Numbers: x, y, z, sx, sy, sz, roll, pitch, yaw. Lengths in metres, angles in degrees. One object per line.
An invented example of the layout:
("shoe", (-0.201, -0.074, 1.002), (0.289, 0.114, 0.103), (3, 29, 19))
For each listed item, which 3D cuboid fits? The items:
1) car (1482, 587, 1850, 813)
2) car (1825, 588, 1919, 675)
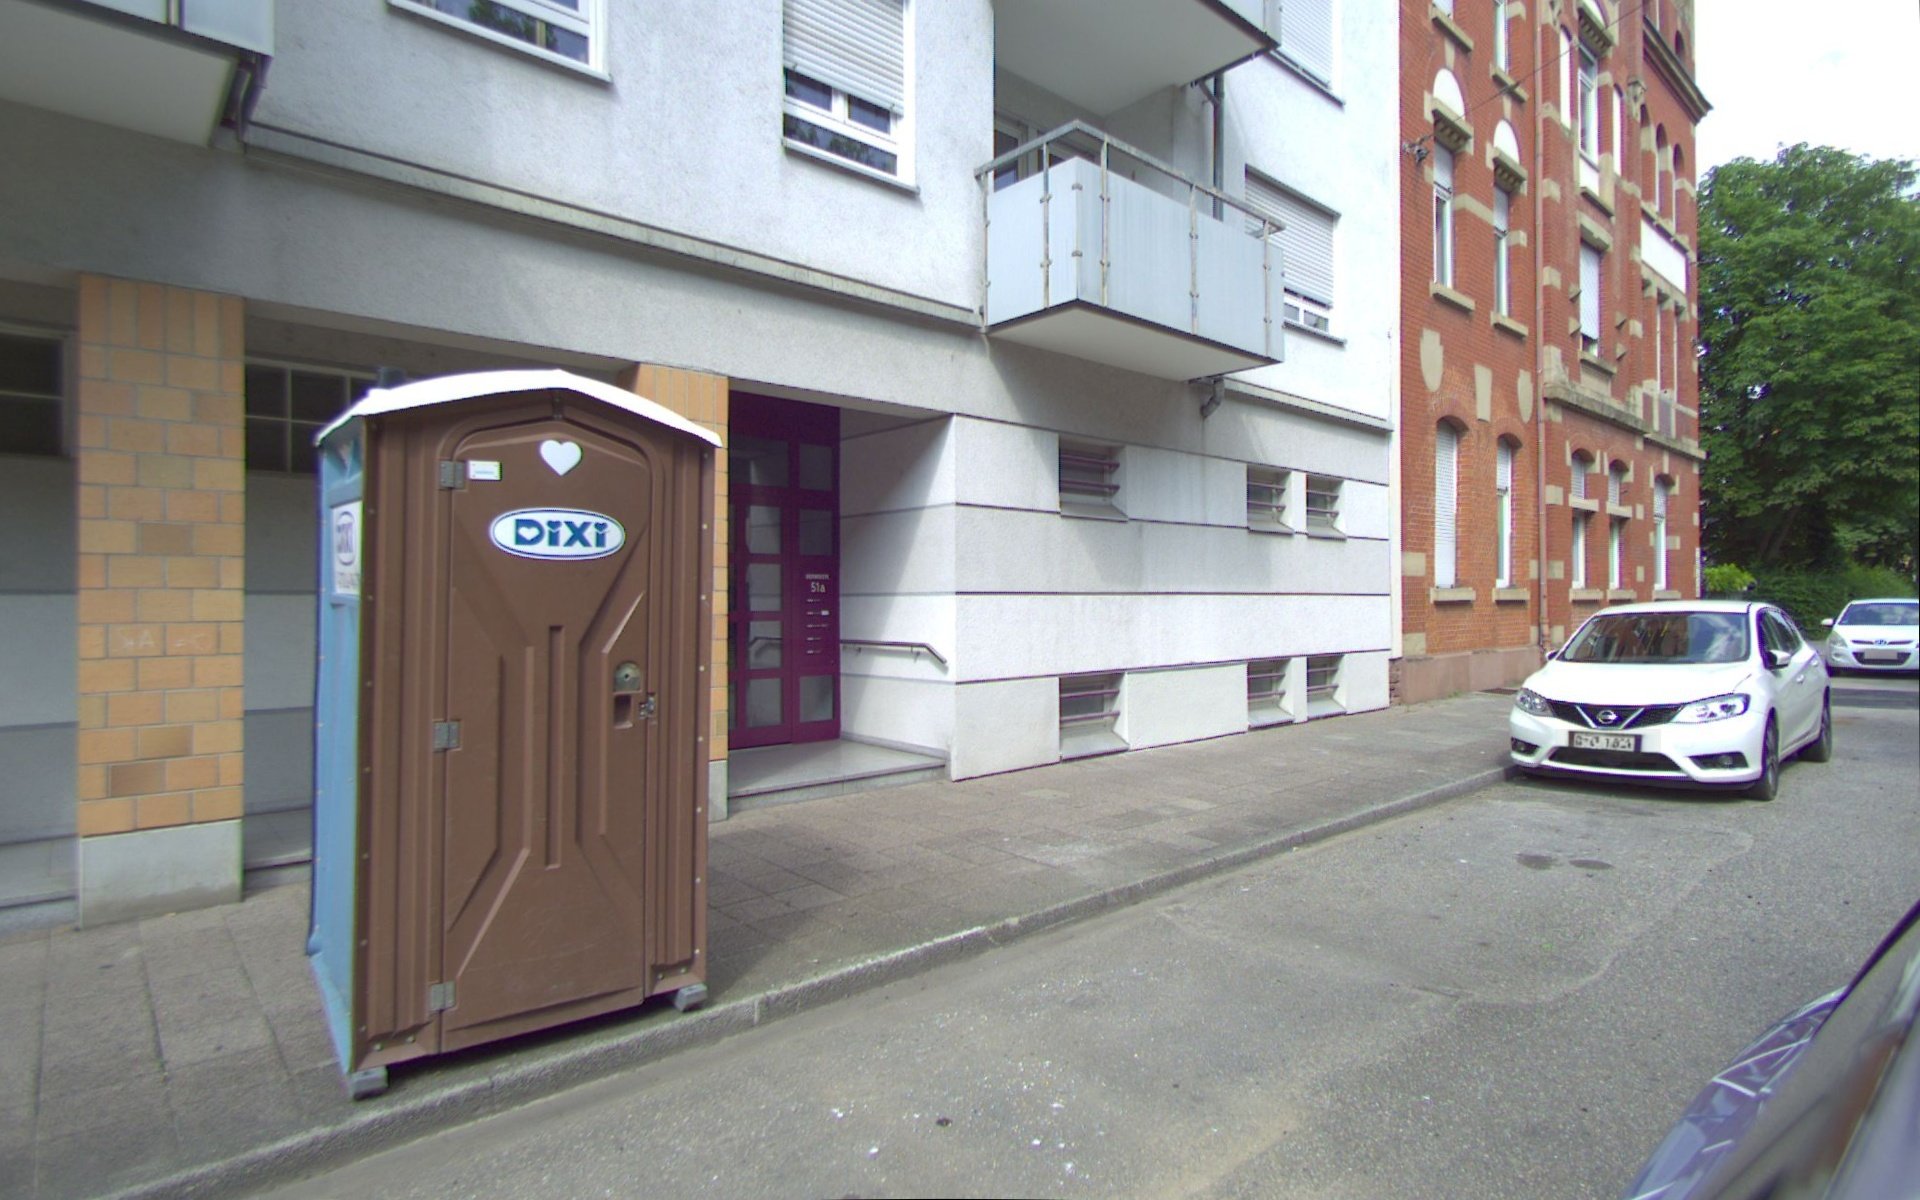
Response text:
("car", (6.372, 0.690, 8.965), (3.971, 1.549, 1.799), (0, -1, -42))
("car", (18.356, 0.553, 19.676), (3.971, 1.549, 1.799), (0, -1, -42))
